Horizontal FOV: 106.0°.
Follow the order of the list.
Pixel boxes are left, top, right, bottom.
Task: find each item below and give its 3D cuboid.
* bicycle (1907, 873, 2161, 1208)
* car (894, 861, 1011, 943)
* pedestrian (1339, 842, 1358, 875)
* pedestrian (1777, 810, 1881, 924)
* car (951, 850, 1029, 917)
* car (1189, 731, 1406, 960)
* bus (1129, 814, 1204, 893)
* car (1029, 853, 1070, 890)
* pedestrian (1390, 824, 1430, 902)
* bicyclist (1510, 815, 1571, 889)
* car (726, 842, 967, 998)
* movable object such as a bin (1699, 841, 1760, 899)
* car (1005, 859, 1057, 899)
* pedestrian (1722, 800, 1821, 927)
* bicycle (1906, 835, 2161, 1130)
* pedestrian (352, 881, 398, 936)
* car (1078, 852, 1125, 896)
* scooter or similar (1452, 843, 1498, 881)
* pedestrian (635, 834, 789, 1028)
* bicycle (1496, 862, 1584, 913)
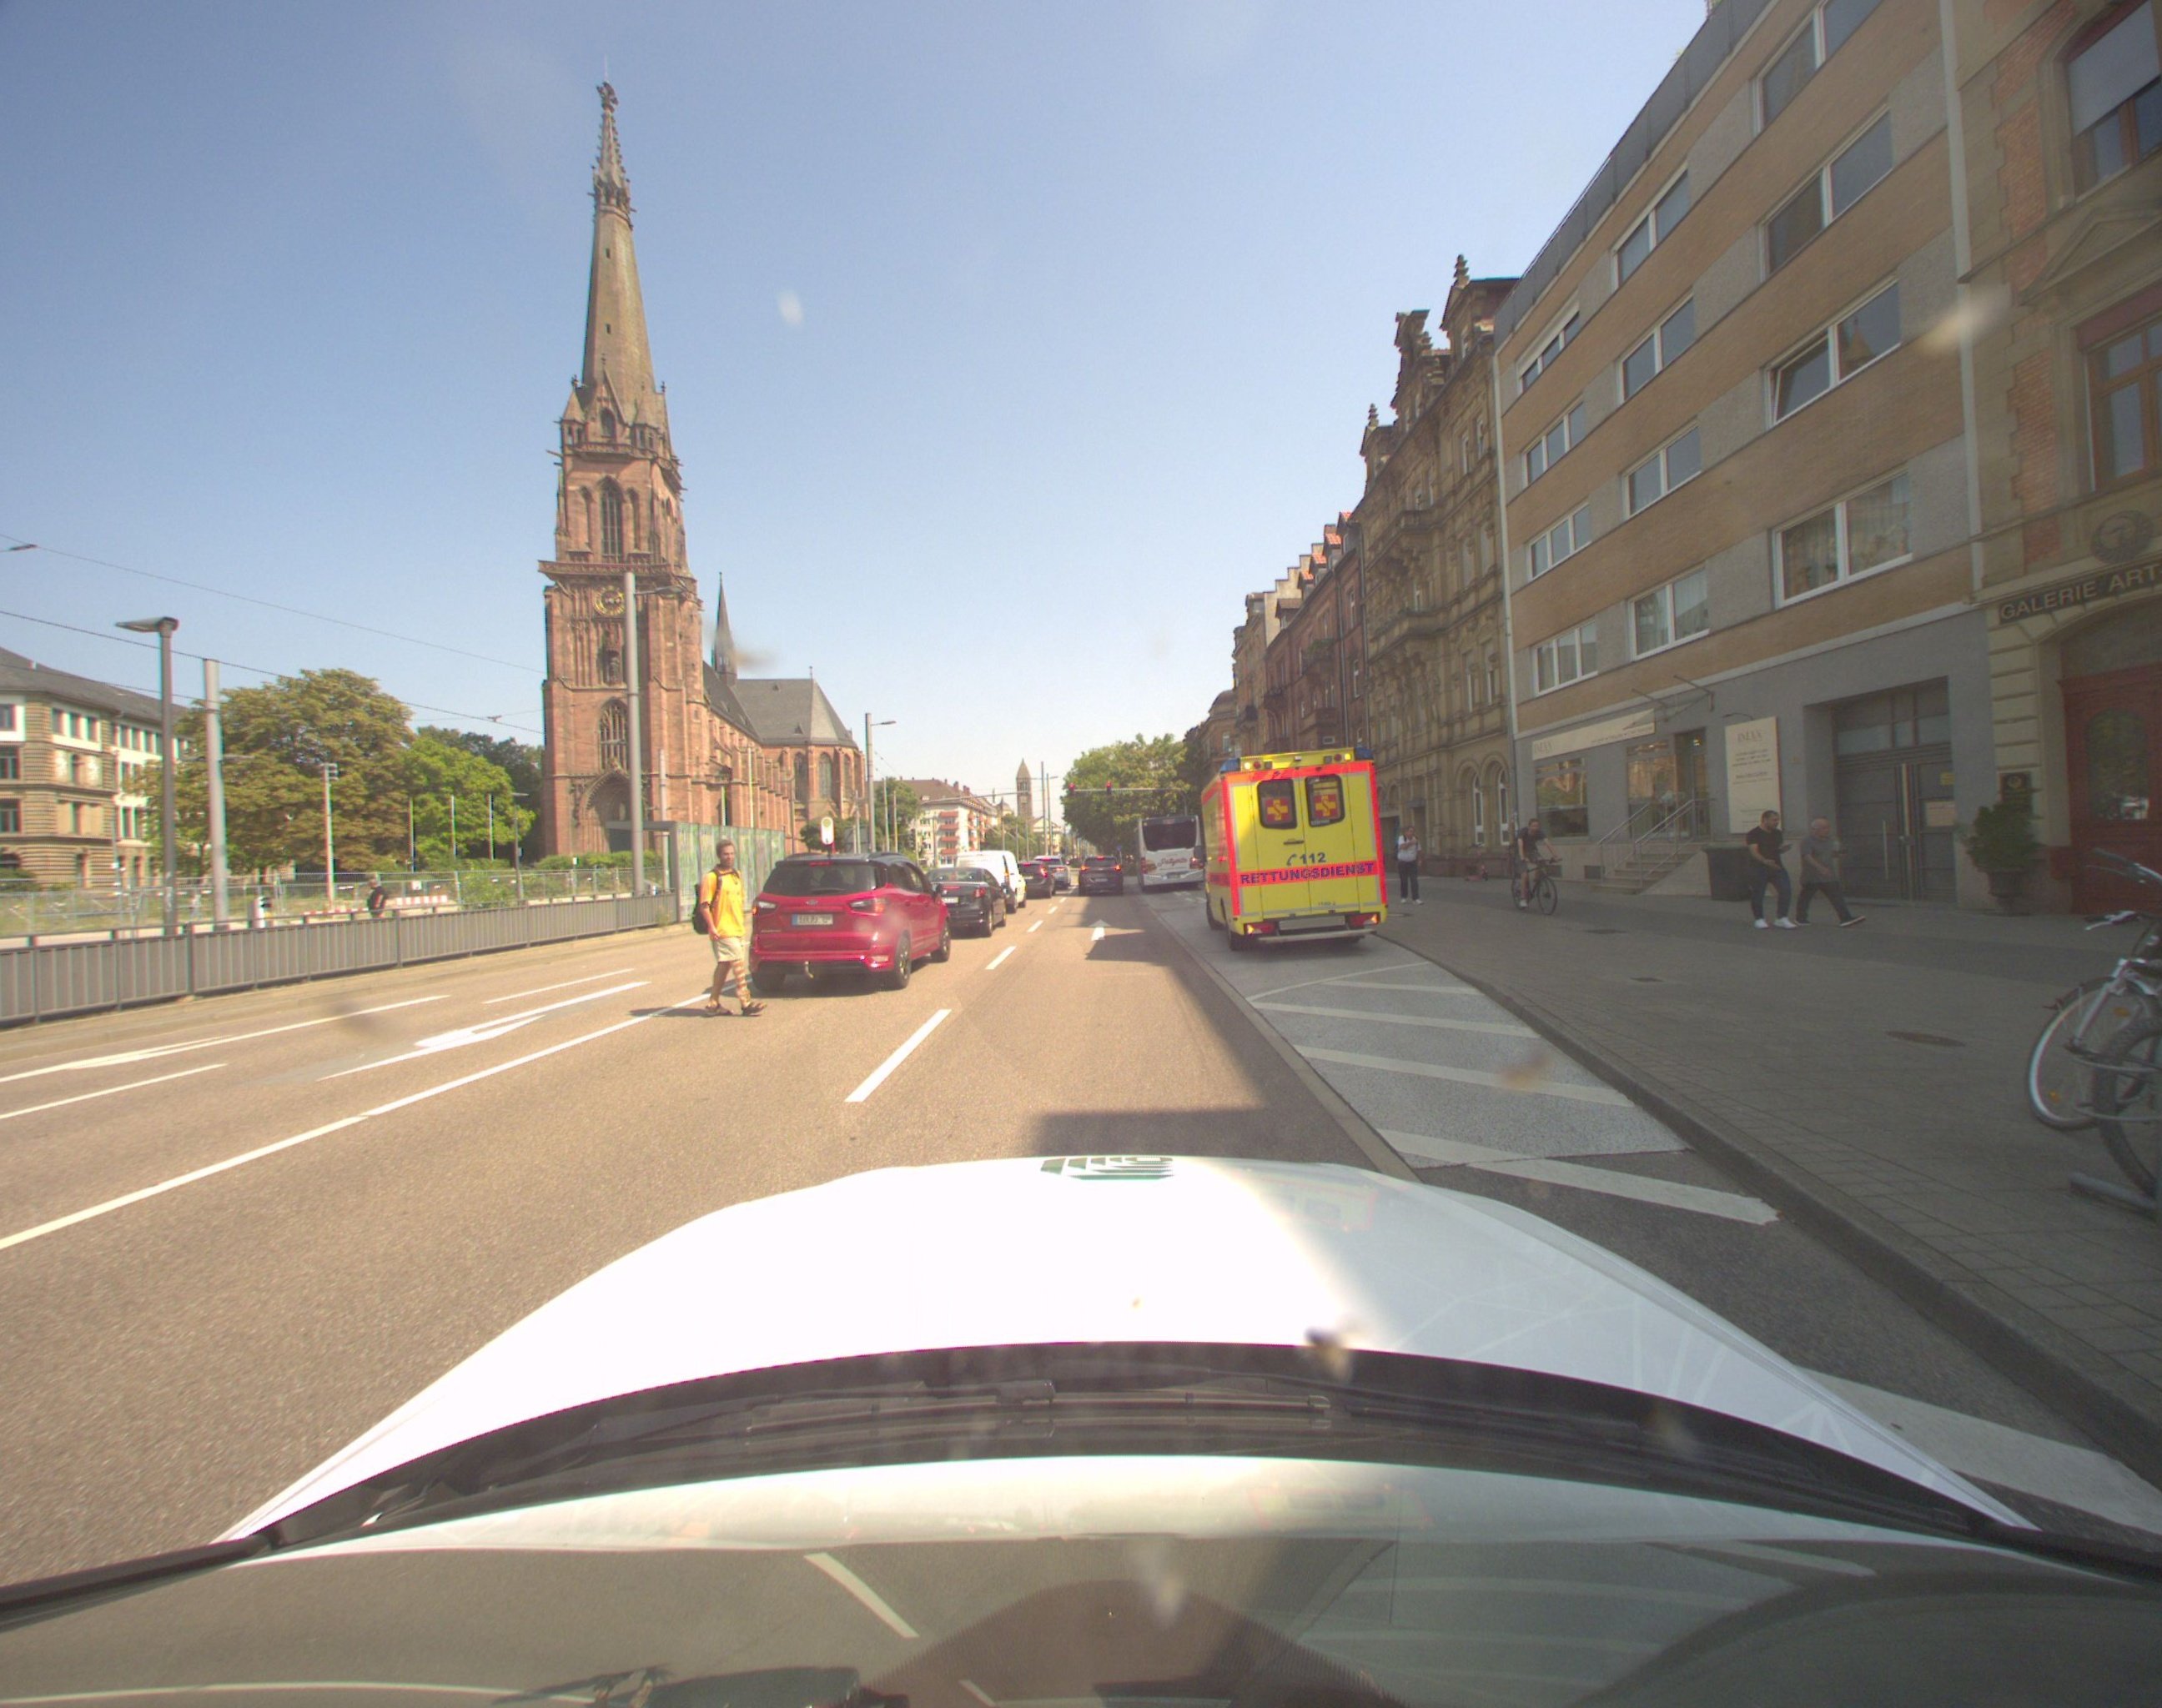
[{"bbox_3d":[4.266,0.612,2.943,1.767,1.072,0.645,-2,0,6],"label":"bicycle"},{"bbox_3d":[-2.604,0.932,17.413,1.784,1.431,3.999,-3,0,0],"label":"car"},{"bbox_3d":[13.445,0.233,40.899,0.621,1.593,0.695,-3,0,-4],"label":"pedestrian"},{"bbox_3d":[10.311,0.178,11.254,0.641,1.493,0.789,-3,-1,1],"label":"pedestrian"},{"bbox_3d":[-2.646,0.838,24.495,1.784,1.780,4.000,-2,-1,0],"label":"car"},{"bbox_3d":[3.227,-0.120,13.589,2.289,2.888,5.604,-4,0,4],"label":"car"},{"bbox_3d":[3.772,-0.006,38.536,2.524,3.032,12.440,-3,0,2],"label":"bus"},{"bbox_3d":[-1.524,0.881,40.713,1.784,1.698,4.000,-2,-1,0],"label":"car"},{"bbox_3d":[7.309,0.196,18.075,0.690,1.667,0.606,-3,0,27],"label":"pedestrian"},{"bbox_3d":[8.536,-0.034,15.159,0.750,1.322,0.582,-3,-1,1],"label":"bicyclist"},{"bbox_3d":[-2.849,0.756,10.905,1.755,1.618,4.086,-3,-1,3],"label":"car"},{"bbox_3d":[12.275,0.307,15.420,0.651,1.047,0.755,-3,0,-42],"label":"movable object such as a bin"},{"bbox_3d":[-1.956,0.983,32.831,1.784,1.472,4.000,-2,-1,0],"label":"car"},{"bbox_3d":[9.595,0.133,11.349,0.641,1.685,0.789,-3,-1,1],"label":"pedestrian"},{"bbox_3d":[4.941,0.527,3.666,1.665,1.215,0.645,-2,0,6],"label":"bicycle"},{"bbox_3d":[-23.319,1.784,26.907,0.826,1.752,0.721,-3,-1,2],"label":"pedestrian"},{"bbox_3d":[0.833,0.831,34.177,1.784,1.677,4.000,-2,-1,0],"label":"car"},{"bbox_3d":[12.632,0.261,26.147,0.514,1.196,1.296,-2,-1,-17],"label":"scooter or similar"},{"bbox_3d":[-3.553,0.721,7.909,1.060,1.752,0.764,-3,-1,5],"label":"pedestrian"},{"bbox_3d":[8.571,0.616,15.287,0.587,0.855,1.775,-4,-2,0],"label":"bicycle"}]
